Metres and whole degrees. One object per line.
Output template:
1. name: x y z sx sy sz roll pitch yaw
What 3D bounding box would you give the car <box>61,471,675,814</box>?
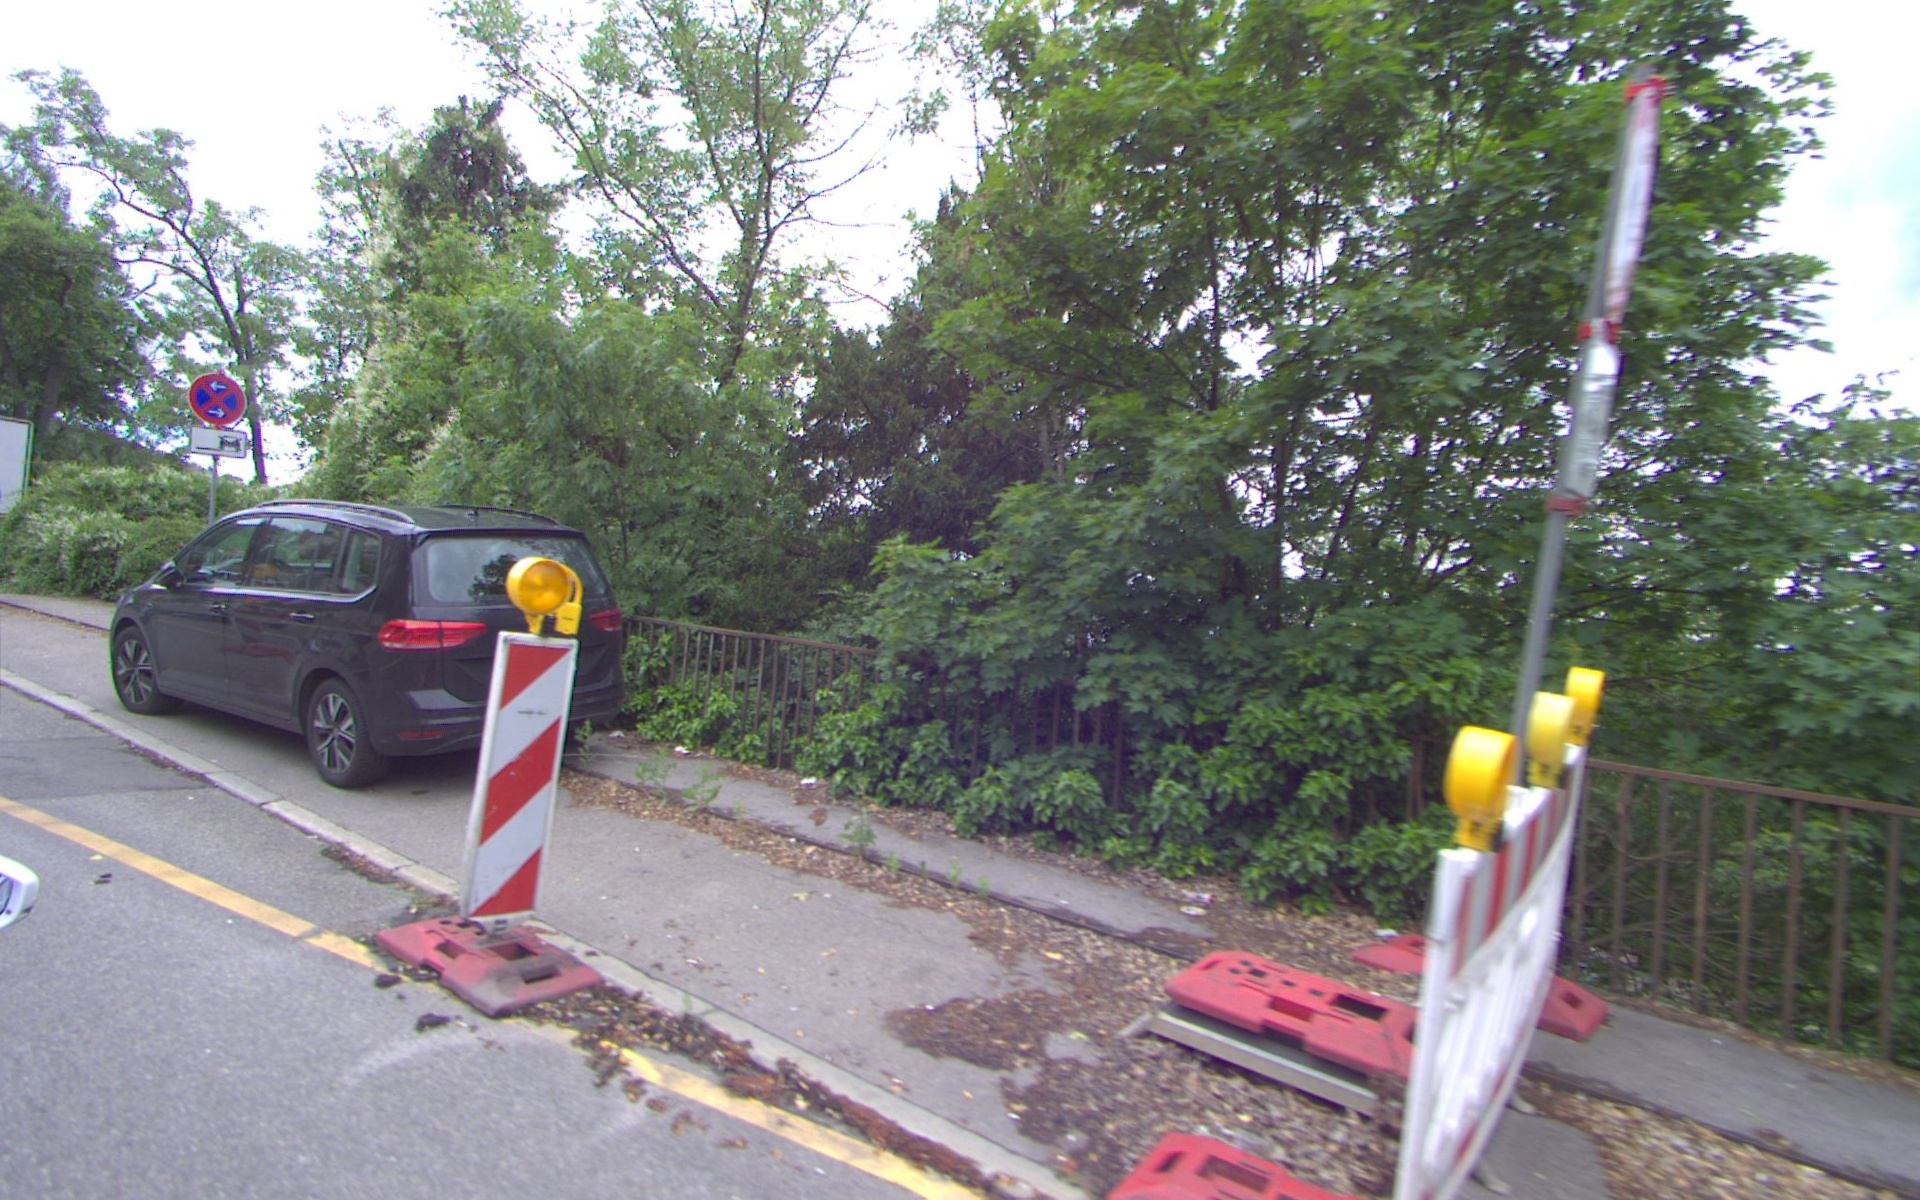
1. car: -4.436 0.086 7.320 4.568 1.697 1.861 6 4 31
